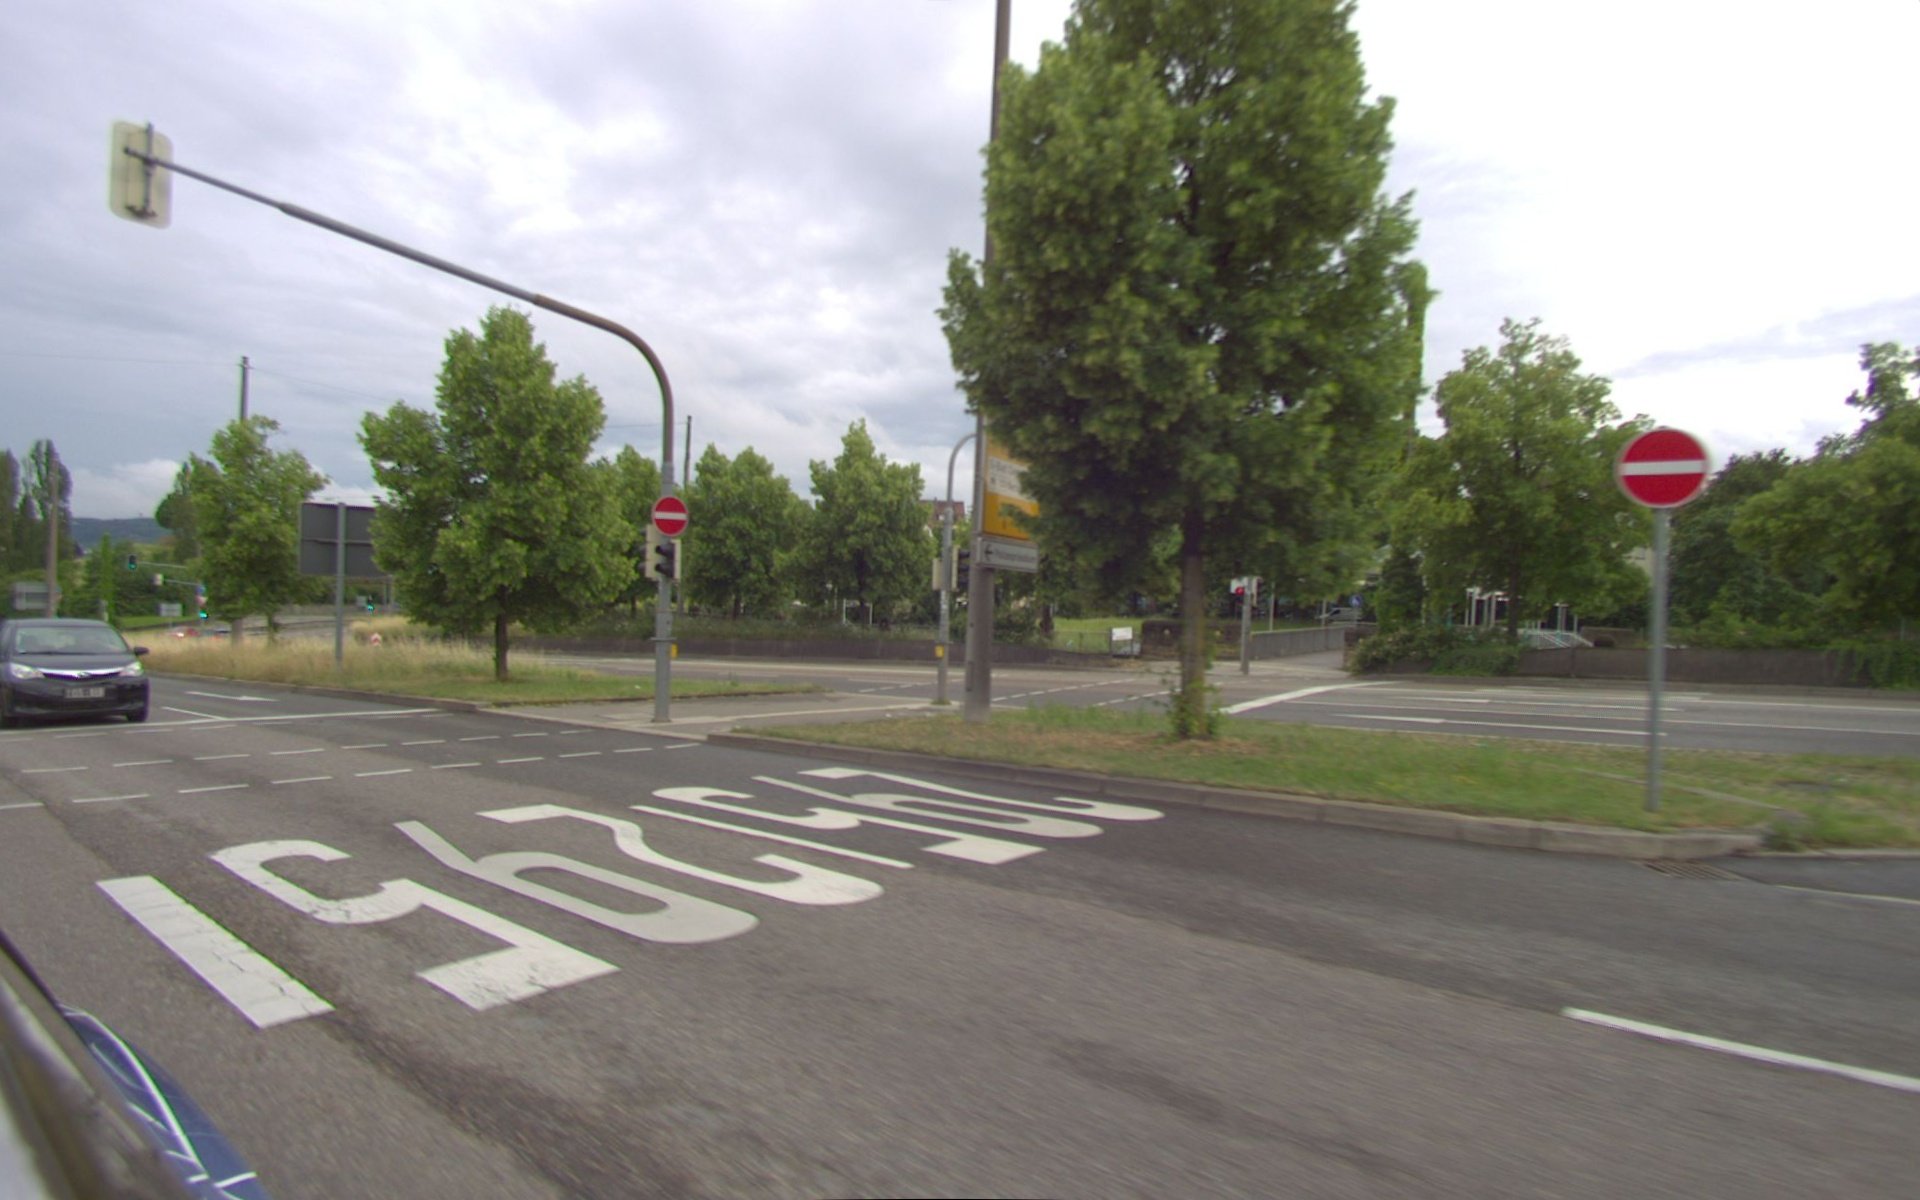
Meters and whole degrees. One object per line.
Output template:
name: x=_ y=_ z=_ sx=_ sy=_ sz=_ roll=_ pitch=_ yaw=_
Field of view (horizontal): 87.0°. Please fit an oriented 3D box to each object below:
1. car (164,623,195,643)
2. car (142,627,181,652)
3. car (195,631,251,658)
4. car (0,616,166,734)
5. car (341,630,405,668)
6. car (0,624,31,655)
car: x=-83.426 y=3.568 z=108.191 sx=1.965 sy=2.029 sz=4.012 roll=0 pitch=-3 yaw=-29
car: x=-69.572 y=3.449 z=88.181 sx=1.966 sy=2.029 sz=4.012 roll=-2 pitch=-1 yaw=-29
car: x=-46.813 y=2.796 z=64.270 sx=3.993 sy=1.632 sz=1.844 roll=-2 pitch=-1 yaw=37
car: x=-13.840 y=1.086 z=15.493 sx=4.039 sy=1.577 sz=1.778 roll=-2 pitch=-3 yaw=39
car: x=-33.484 y=2.763 z=57.665 sx=3.999 sy=2.029 sz=1.972 roll=-1 pitch=-3 yaw=42
car: x=-65.792 y=2.706 z=68.999 sx=1.966 sy=2.029 sz=4.011 roll=-3 pitch=-1 yaw=-15
